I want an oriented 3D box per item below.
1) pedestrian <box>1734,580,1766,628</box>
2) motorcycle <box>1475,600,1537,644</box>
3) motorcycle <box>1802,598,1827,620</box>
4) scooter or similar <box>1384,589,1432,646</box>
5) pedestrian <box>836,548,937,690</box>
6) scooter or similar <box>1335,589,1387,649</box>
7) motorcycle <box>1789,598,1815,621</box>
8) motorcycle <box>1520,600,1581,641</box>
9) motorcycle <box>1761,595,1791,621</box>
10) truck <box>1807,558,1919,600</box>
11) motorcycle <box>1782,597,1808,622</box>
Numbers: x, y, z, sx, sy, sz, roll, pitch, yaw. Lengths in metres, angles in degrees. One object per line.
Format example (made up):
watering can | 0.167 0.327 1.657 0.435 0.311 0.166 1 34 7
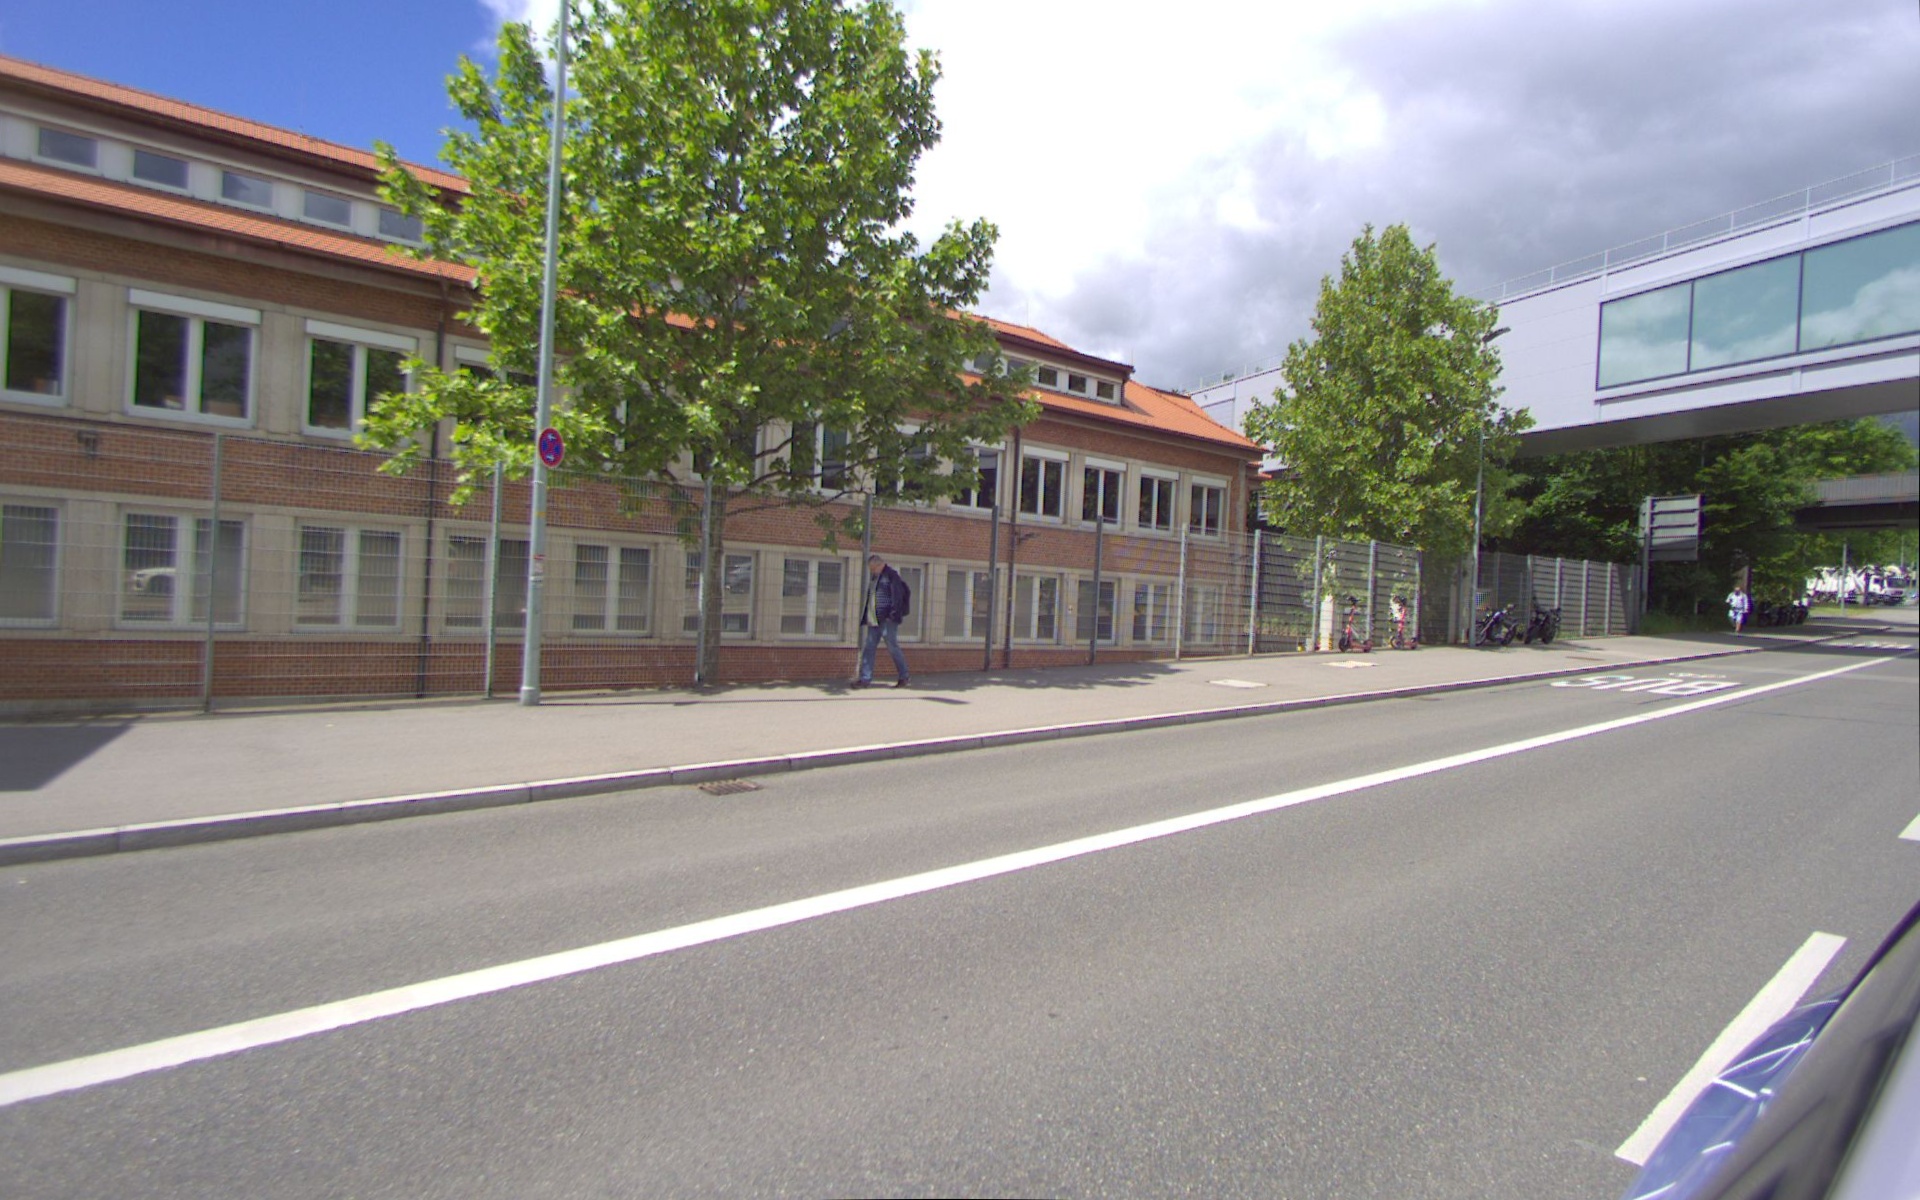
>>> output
pedestrian | 31.920 0.146 40.897 1.078 1.911 0.791 0 2 -41
motorcycle | 14.681 0.565 27.192 2.208 1.077 0.670 0 4 -41
motorcycle | 44.705 0.442 52.950 2.143 1.096 0.679 0 2 -42
scooter or similar | 10.805 0.405 24.395 1.313 1.310 0.492 0 2 -41
pedestrian | -0.970 0.220 13.307 0.924 1.764 0.879 0 3 -41
scooter or similar | 9.073 0.409 22.886 1.313 1.310 0.492 0 2 -41
motorcycle | 42.840 0.468 51.493 2.003 1.096 0.679 0 2 -42
motorcycle | 16.986 0.567 29.079 2.466 1.077 0.709 0 4 -41
motorcycle | 39.125 0.369 48.512 2.075 1.169 0.679 0 2 -40
truck | 92.139 -2.085 103.194 2.735 4.055 10.089 1 0 -2
motorcycle | 41.198 0.457 49.922 2.123 1.157 0.679 0 2 -42
